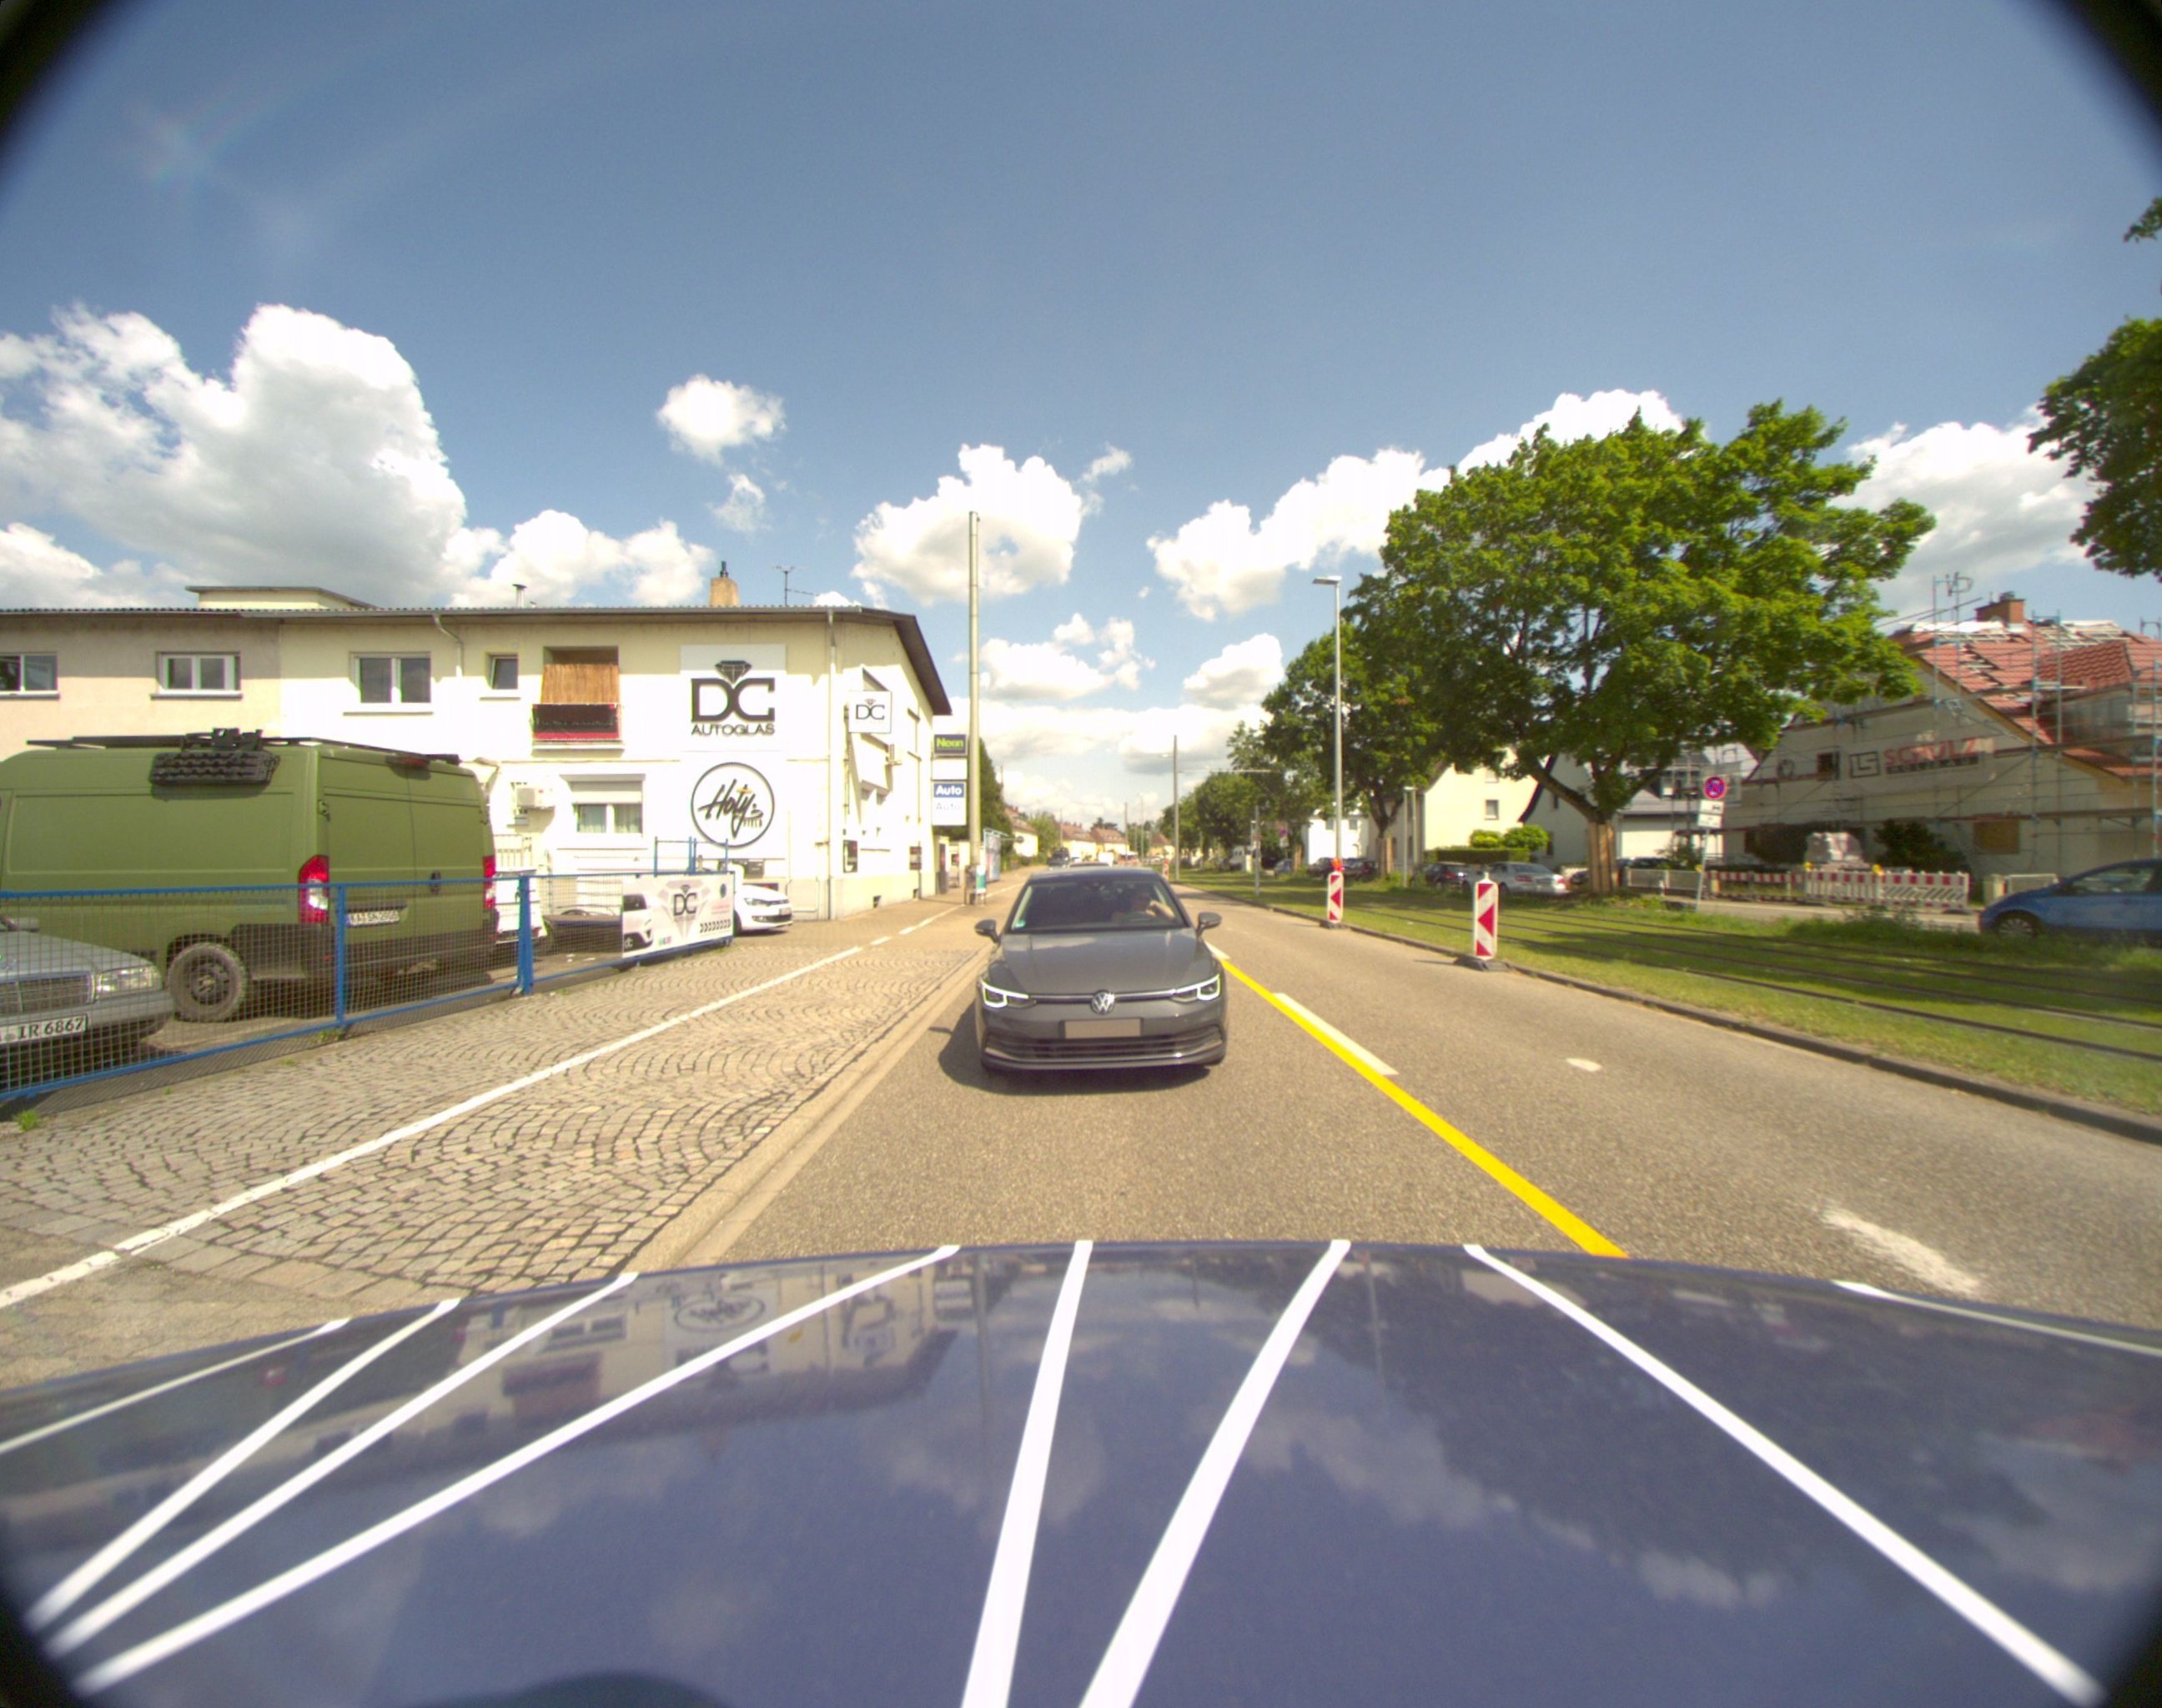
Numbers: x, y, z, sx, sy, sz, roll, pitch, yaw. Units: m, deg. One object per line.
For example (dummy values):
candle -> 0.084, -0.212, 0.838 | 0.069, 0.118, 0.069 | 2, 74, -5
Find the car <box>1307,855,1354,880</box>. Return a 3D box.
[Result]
car -> 16.550, 0.900, 50.667 | 1.702, 1.562, 4.407 | -1, -1, 1

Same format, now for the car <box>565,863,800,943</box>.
car -> -7.665, 0.916, 14.823 | 3.775, 1.454, 1.555 | 0, 0, 2

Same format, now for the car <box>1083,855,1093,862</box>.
car -> 1.440, 0.908, 155.844 | 1.701, 1.574, 4.002 | 0, 0, 7

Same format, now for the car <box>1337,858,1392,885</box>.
car -> 16.767, 1.036, 45.161 | 1.702, 1.477, 4.407 | -1, -1, 1

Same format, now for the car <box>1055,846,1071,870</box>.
car -> -1.917, 0.450, 82.445 | 1.702, 2.510, 5.144 | 0, 0, 0

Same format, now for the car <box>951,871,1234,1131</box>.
car -> 0.096, 0.936, 6.586 | 1.702, 1.477, 4.000 | 0, 0, 1

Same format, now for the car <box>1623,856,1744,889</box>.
car -> 28.902, 0.891, 36.517 | 4.402, 1.477, 1.704 | -1, -1, 1

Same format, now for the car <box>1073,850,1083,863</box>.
car -> -0.492, 0.422, 136.409 | 1.701, 2.233, 4.947 | 0, 0, 2

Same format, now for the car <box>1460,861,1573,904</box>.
car -> 16.437, 1.067, 28.971 | 1.788, 1.477, 4.523 | -1, -1, 2

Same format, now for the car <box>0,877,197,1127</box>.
car -> -8.462, 0.888, 4.780 | 4.282, 1.444, 1.713 | 0, 0, 8

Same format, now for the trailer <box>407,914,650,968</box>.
trailer -> -8.371, 1.306, 11.666 | 2.733, 0.662, 1.329 | 0, 0, -1

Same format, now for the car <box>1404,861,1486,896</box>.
car -> 16.622, 1.121, 34.944 | 1.702, 1.477, 4.407 | -1, -1, 1

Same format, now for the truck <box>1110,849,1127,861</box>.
truck -> 9.908, 0.146, 201.057 | 2.710, 3.119, 8.124 | 0, 0, 15

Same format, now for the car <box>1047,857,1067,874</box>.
car -> -2.189, 1.048, 70.760 | 1.702, 1.574, 4.000 | 0, 0, 1

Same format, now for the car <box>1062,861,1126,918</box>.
car -> 0.376, 0.973, 22.269 | 1.702, 1.477, 4.000 | 0, 0, 1

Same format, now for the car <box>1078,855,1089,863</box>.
car -> 0.481, 0.905, 146.713 | 1.701, 1.574, 4.002 | 0, 0, 6

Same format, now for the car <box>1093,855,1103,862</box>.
car -> 3.843, 0.915, 173.603 | 1.700, 1.574, 4.004 | 0, 0, 12

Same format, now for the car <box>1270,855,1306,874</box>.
car -> 16.640, 0.876, 61.288 | 1.702, 1.477, 4.407 | -1, -1, 1

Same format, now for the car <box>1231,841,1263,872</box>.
car -> 16.813, 0.275, 77.278 | 2.136, 3.019, 5.084 | -1, -1, 1

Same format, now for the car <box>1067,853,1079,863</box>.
car -> -1.318, 0.674, 123.046 | 1.701, 1.574, 4.001 | 0, 0, 3

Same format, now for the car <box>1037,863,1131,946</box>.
car -> 0.076, 0.940, 15.783 | 1.702, 1.477, 4.000 | 0, 0, 1

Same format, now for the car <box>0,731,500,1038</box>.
car -> -8.729, 0.271, 7.615 | 4.207, 2.627, 2.113 | 0, 0, 2

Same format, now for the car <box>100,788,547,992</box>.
car -> -9.504, 0.430, 9.744 | 4.207, 2.392, 1.586 | 0, 0, 2

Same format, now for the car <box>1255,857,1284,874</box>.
car -> 17.642, 1.079, 71.333 | 1.702, 1.477, 4.407 | -1, -1, 1

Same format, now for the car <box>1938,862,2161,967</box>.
car -> 16.190, 0.867, 11.405 | 1.702, 1.477, 4.407 | -1, -1, 1

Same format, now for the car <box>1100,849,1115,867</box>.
car -> 3.837, 0.587, 109.842 | 2.090, 2.449, 5.842 | 2, 0, 2
